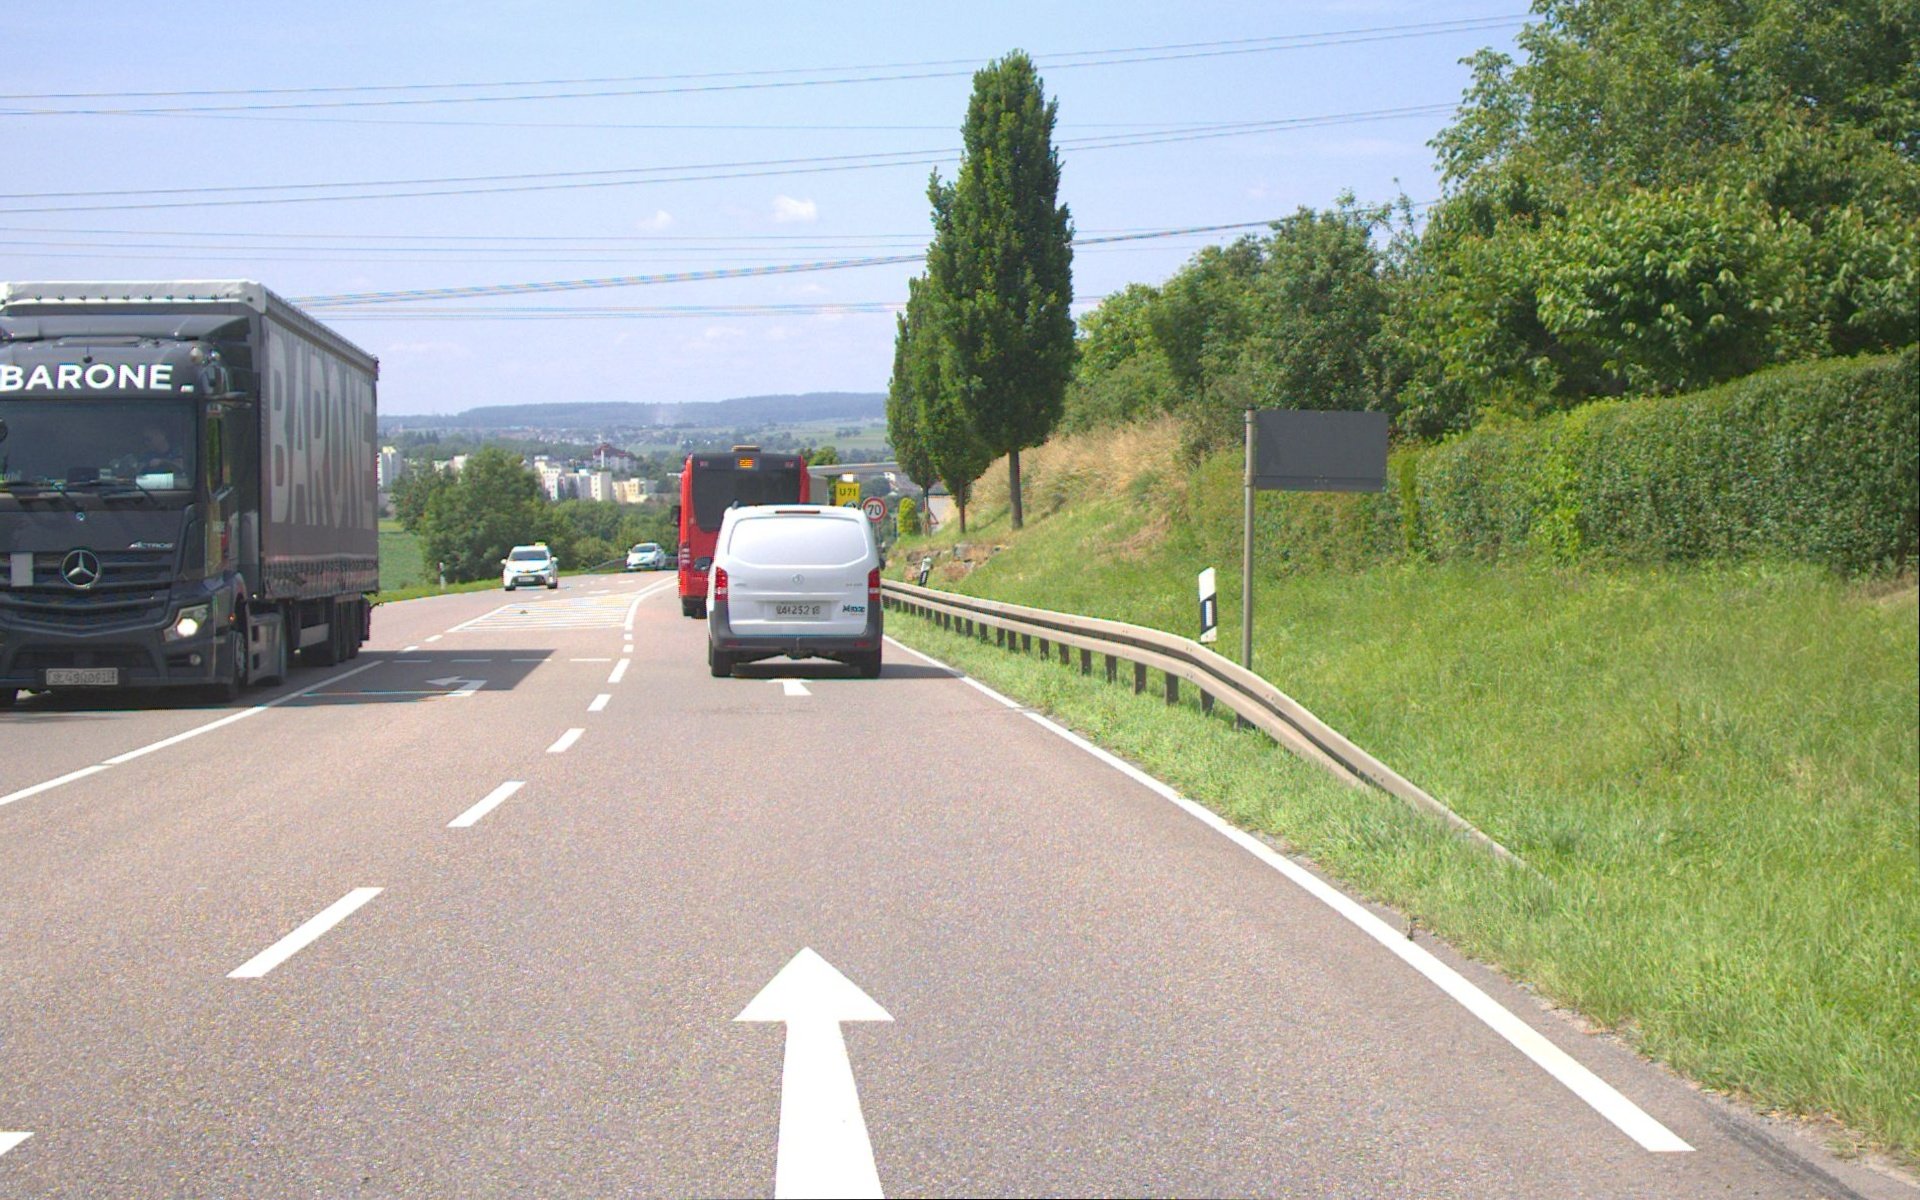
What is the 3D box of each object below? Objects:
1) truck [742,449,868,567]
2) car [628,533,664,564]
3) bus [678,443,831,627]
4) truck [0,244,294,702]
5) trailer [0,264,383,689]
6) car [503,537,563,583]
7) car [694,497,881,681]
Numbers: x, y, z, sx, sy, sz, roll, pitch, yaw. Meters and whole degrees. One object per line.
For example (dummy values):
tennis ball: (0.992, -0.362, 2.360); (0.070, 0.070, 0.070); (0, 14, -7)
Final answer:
truck: (-6.139, -3.721, 139.265); (3.488, 4.408, 14.902); (-2, 1, 3)
car: (-17.621, -2.894, 192.998); (1.766, 1.681, 3.826); (-2, 1, -3)
bus: (-4.436, -1.558, 72.723); (2.747, 3.341, 13.225); (-3, 3, -4)
truck: (-8.149, -1.194, 33.535); (2.585, 4.090, 5.443); (-1, 1, -4)
trailer: (-8.697, -1.348, 40.435); (2.592, 4.128, 13.744); (-1, 1, -5)
car: (-15.475, -1.473, 124.752); (1.853, 1.560, 4.075); (-2, 1, -4)
car: (-1.887, -0.176, 38.638); (1.923, 1.883, 4.001); (-2, 2, -1)
